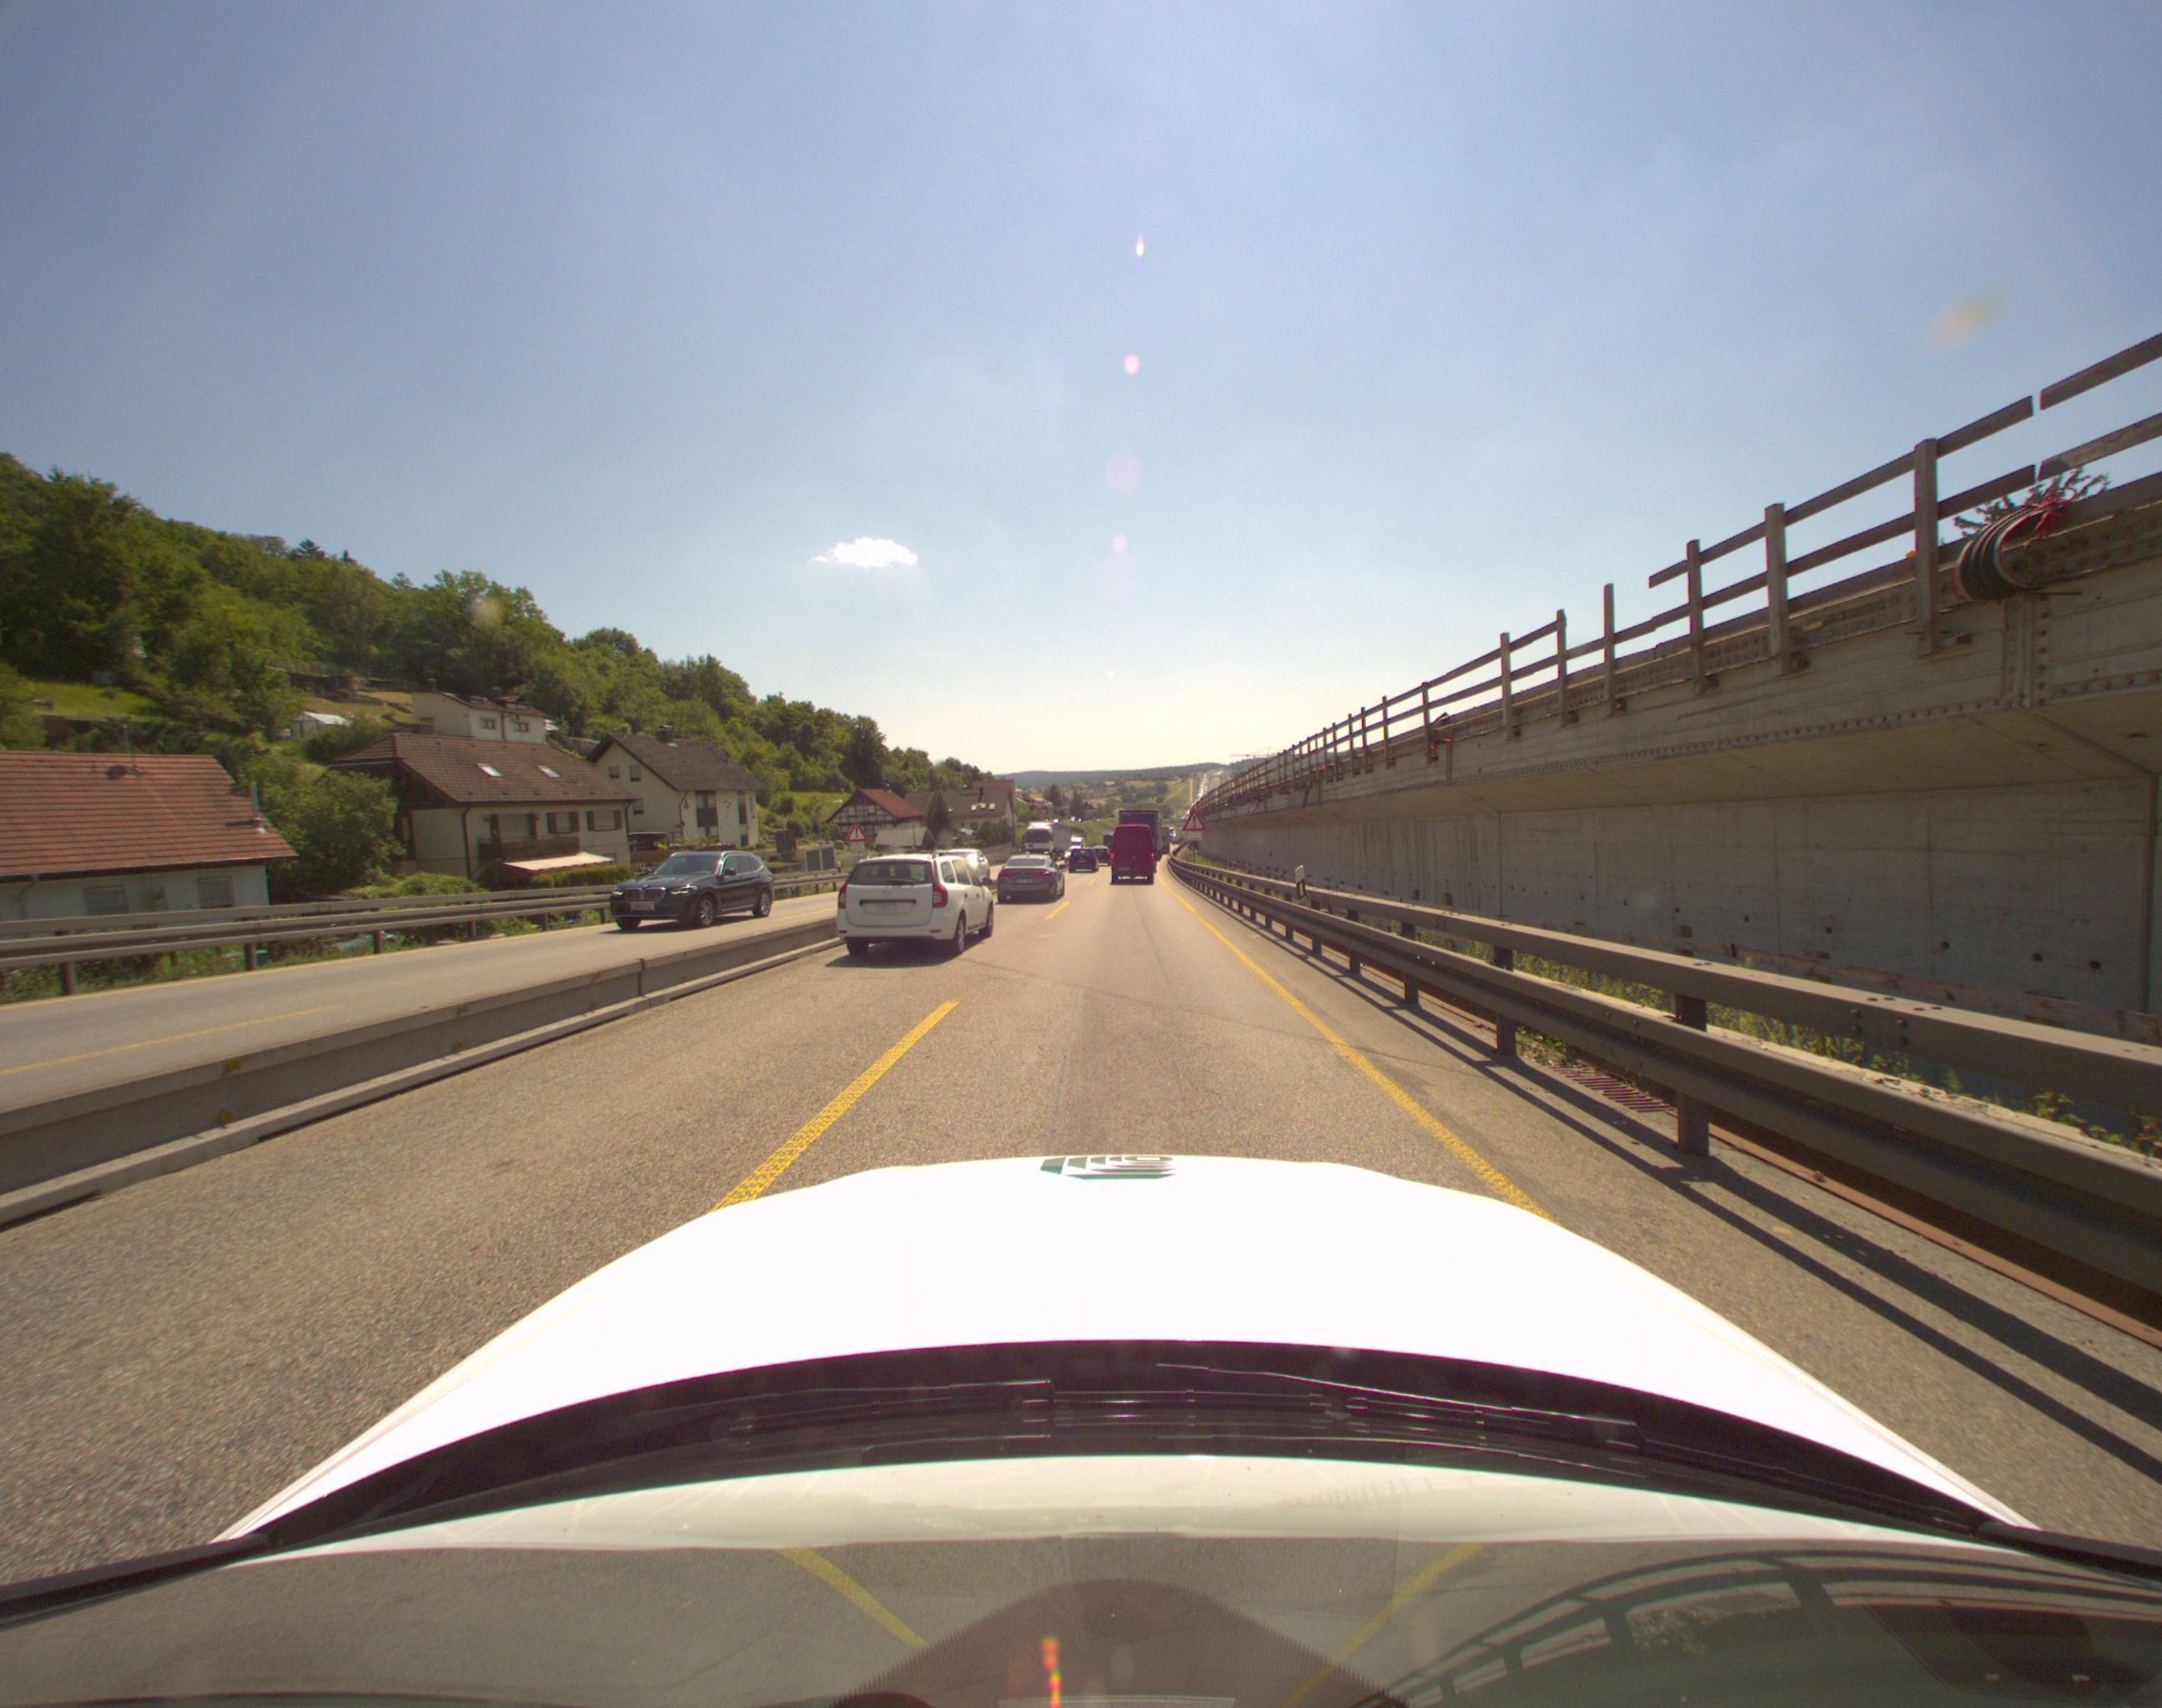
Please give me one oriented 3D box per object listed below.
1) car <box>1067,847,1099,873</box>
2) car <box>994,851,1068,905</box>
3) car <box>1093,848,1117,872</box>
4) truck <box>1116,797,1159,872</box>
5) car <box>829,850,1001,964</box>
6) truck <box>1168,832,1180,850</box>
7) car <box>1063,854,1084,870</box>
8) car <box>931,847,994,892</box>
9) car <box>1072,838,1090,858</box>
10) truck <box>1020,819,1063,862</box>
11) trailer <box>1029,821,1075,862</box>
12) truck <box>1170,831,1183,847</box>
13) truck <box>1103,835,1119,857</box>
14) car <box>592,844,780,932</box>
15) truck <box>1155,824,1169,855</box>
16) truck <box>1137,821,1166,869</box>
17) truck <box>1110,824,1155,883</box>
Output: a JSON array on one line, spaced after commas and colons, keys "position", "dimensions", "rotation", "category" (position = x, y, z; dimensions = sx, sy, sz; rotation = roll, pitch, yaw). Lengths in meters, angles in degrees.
[{"position": [0.182, 0.408, 54.114], "dimensions": [1.802, 1.608, 3.723], "rotation": [-1, -1, 4], "category": "car"}, {"position": [-1.489, 0.701, 25.604], "dimensions": [1.787, 1.485, 4.053], "rotation": [-2, 0, 3], "category": "car"}, {"position": [1.995, 0.475, 65.818], "dimensions": [1.721, 1.838, 4.004], "rotation": [-1, -1, 4], "category": "car"}, {"position": [4.028, -1.209, 57.974], "dimensions": [2.774, 4.816, 9.694], "rotation": [-1, -1, 4], "category": "truck"}, {"position": [-2.491, 0.745, 13.287], "dimensions": [1.645, 1.483, 4.269], "rotation": [-3, -1, 3], "category": "car"}, {"position": [24.549, -3.330, 214.643], "dimensions": [3.053, 4.381, 8.573], "rotation": [-1, -1, 7], "category": "truck"}, {"position": [-0.708, 0.785, 80.698], "dimensions": [1.663, 1.535, 4.196], "rotation": [-1, 0, 5], "category": "car"}, {"position": [-4.830, 0.632, 33.755], "dimensions": [1.743, 1.687, 4.390], "rotation": [-1, -1, 3], "category": "car"}, {"position": [0.050, -0.795, 111.621], "dimensions": [1.996, 2.603, 5.987], "rotation": [-1, 0, 5], "category": "car"}, {"position": [-3.825, -1.304, 81.538], "dimensions": [3.119, 4.079, 6.893], "rotation": [-1, 0, 7], "category": "truck"}, {"position": [-2.988, -1.314, 88.359], "dimensions": [3.118, 4.079, 11.842], "rotation": [-1, 0, 7], "category": "trailer"}, {"position": [27.665, -4.296, 236.073], "dimensions": [3.449, 4.381, 8.573], "rotation": [-1, -1, 7], "category": "truck"}, {"position": [5.681, -1.529, 154.648], "dimensions": [2.495, 3.965, 5.184], "rotation": [-1, -1, 7], "category": "truck"}, {"position": [-8.824, 0.711, 18.732], "dimensions": [1.898, 1.742, 4.663], "rotation": [-1, -1, 2], "category": "car"}, {"position": [11.824, -2.014, 118.806], "dimensions": [1.983, 4.381, 4.007], "rotation": [-1, -1, 7], "category": "truck"}, {"position": [7.478, -0.818, 87.189], "dimensions": [2.774, 4.816, 9.694], "rotation": [-1, -1, 4], "category": "truck"}, {"position": [2.401, 0.014, 38.215], "dimensions": [1.985, 2.578, 4.003], "rotation": [-1, -1, 3], "category": "truck"}]
